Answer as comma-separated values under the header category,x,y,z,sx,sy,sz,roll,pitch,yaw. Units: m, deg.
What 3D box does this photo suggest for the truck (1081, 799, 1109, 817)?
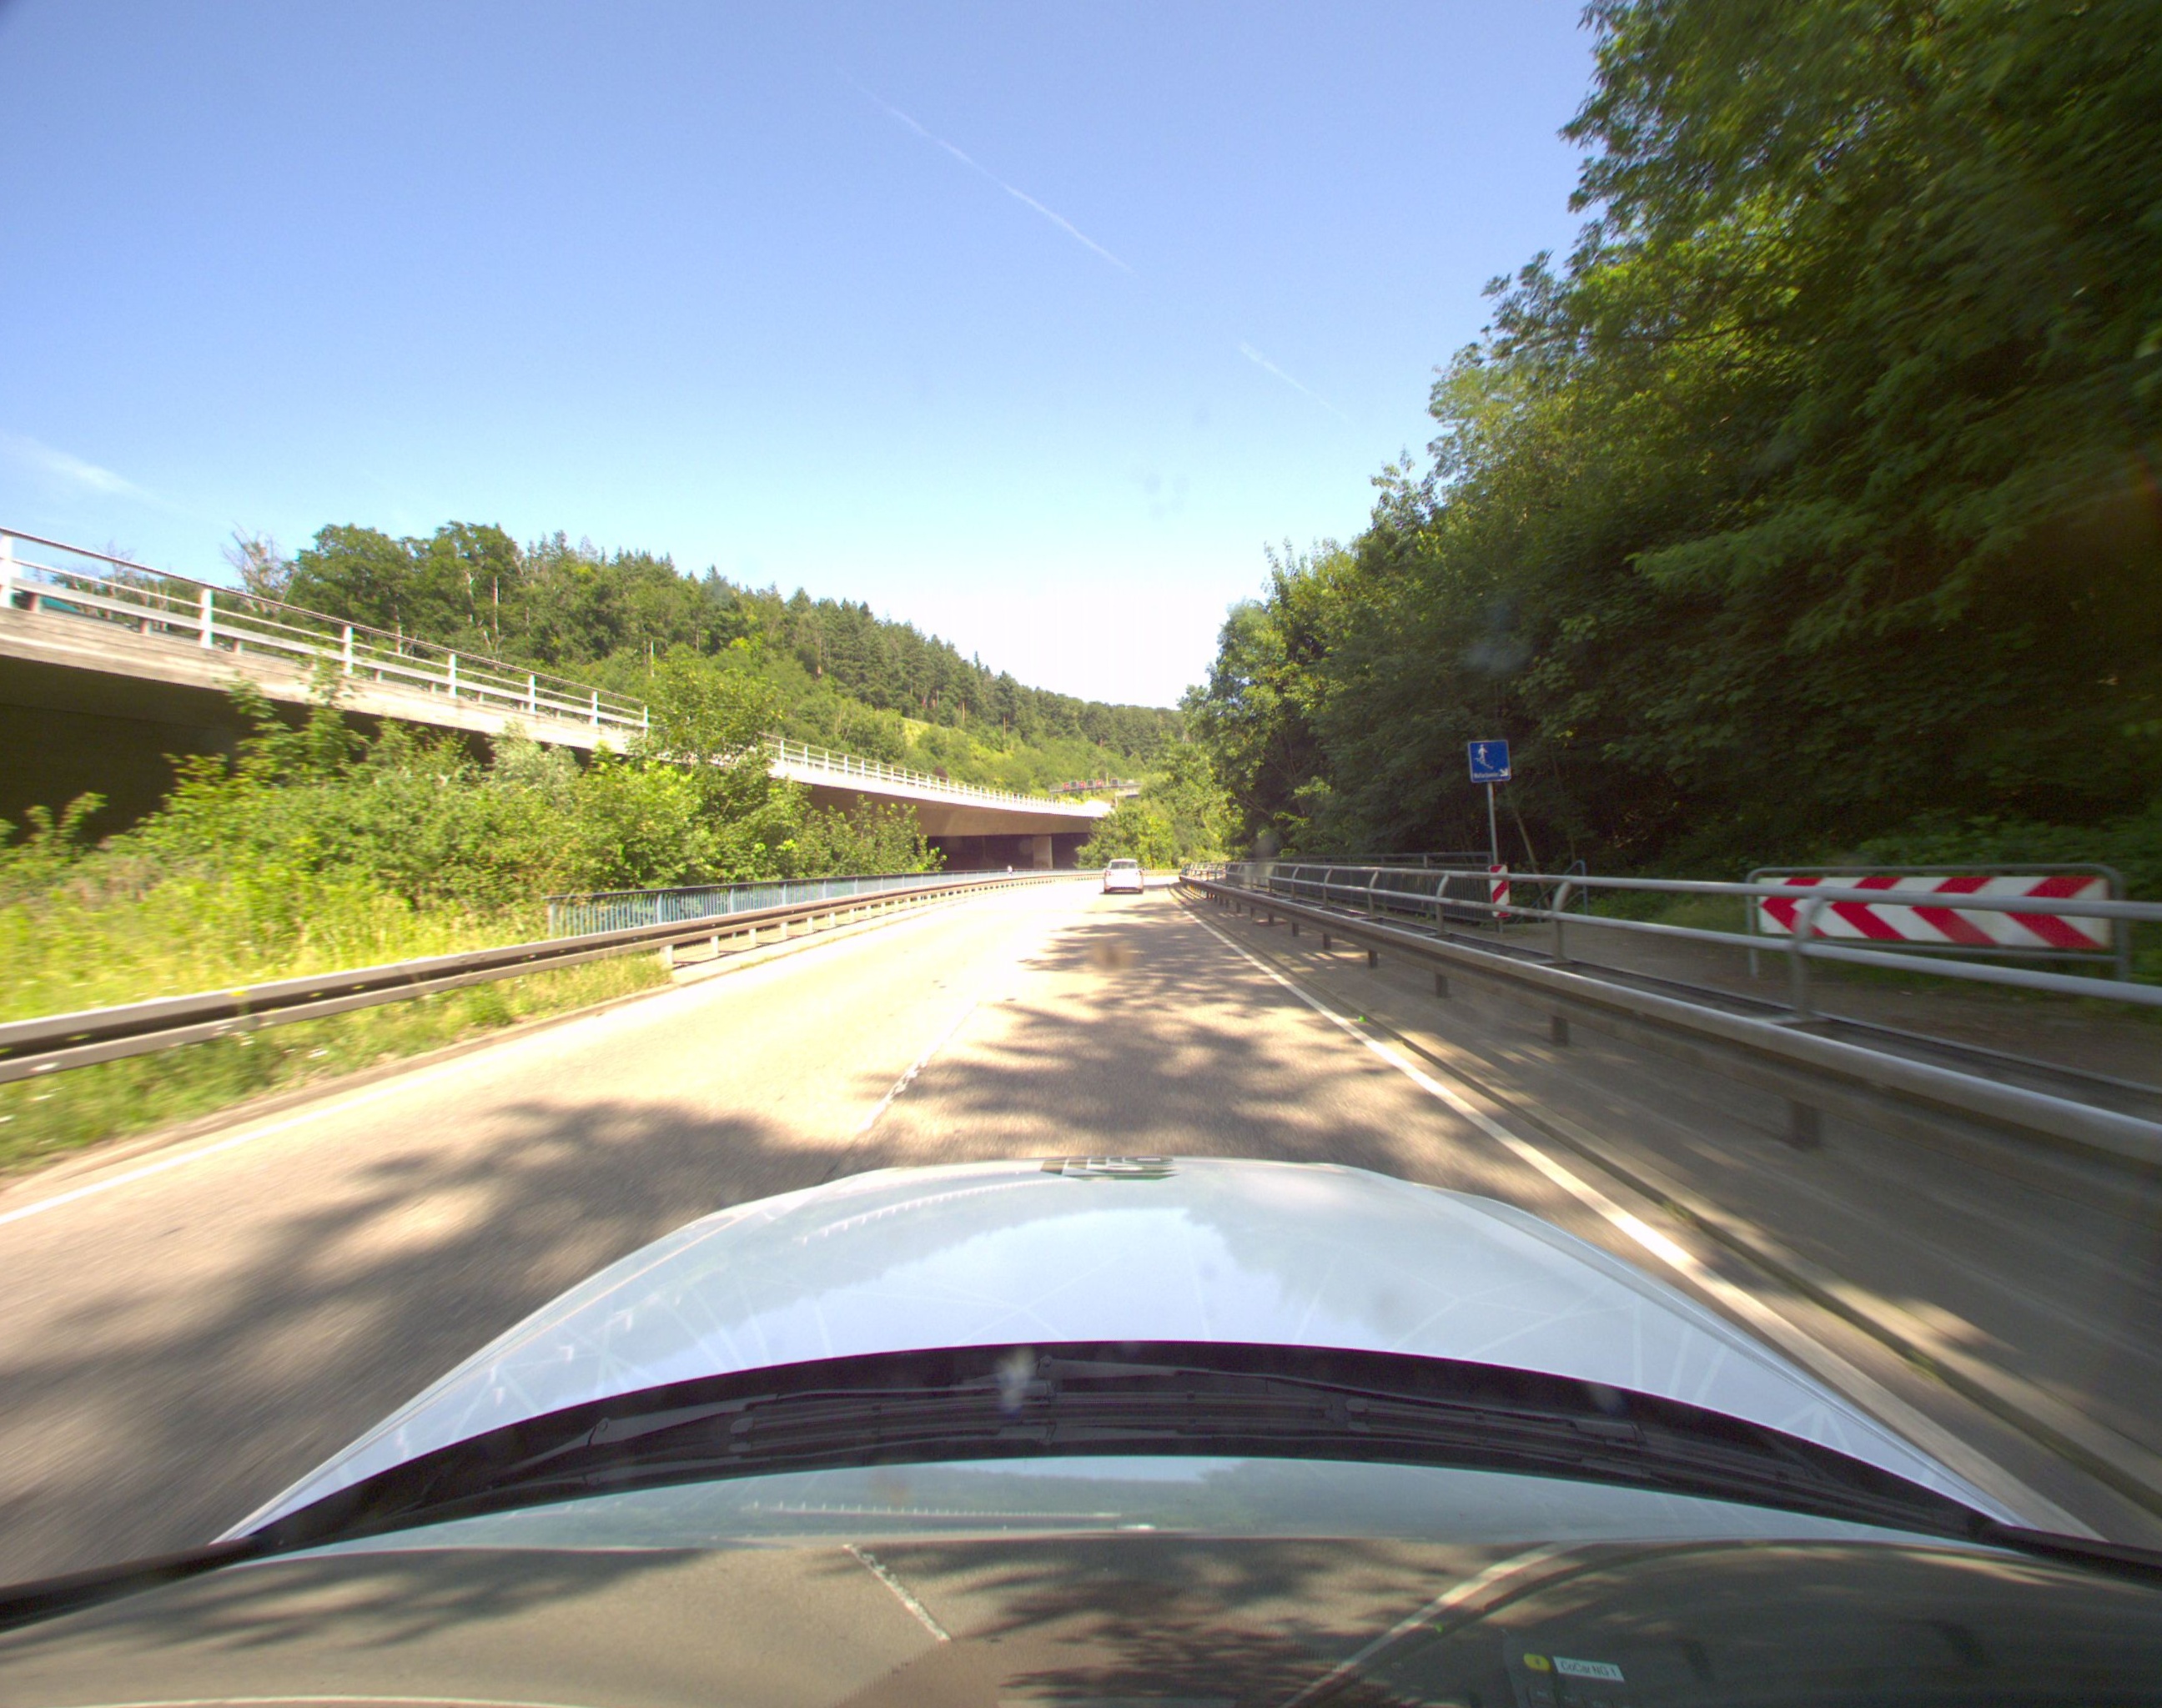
category,x,y,z,sx,sy,sz,roll,pitch,yaw
truck,2.993,-9.500,169.874,3.345,3.354,10.216,-1,1,14

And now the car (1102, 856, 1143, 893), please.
category,x,y,z,sx,sy,sz,roll,pitch,yaw
car,1.905,0.894,36.781,1.743,1.520,4.163,-1,0,4

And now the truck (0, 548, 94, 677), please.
category,x,y,z,sx,sy,sz,roll,pitch,yaw
truck,-28.654,-6.317,19.844,2.385,2.878,5.470,-1,1,2
